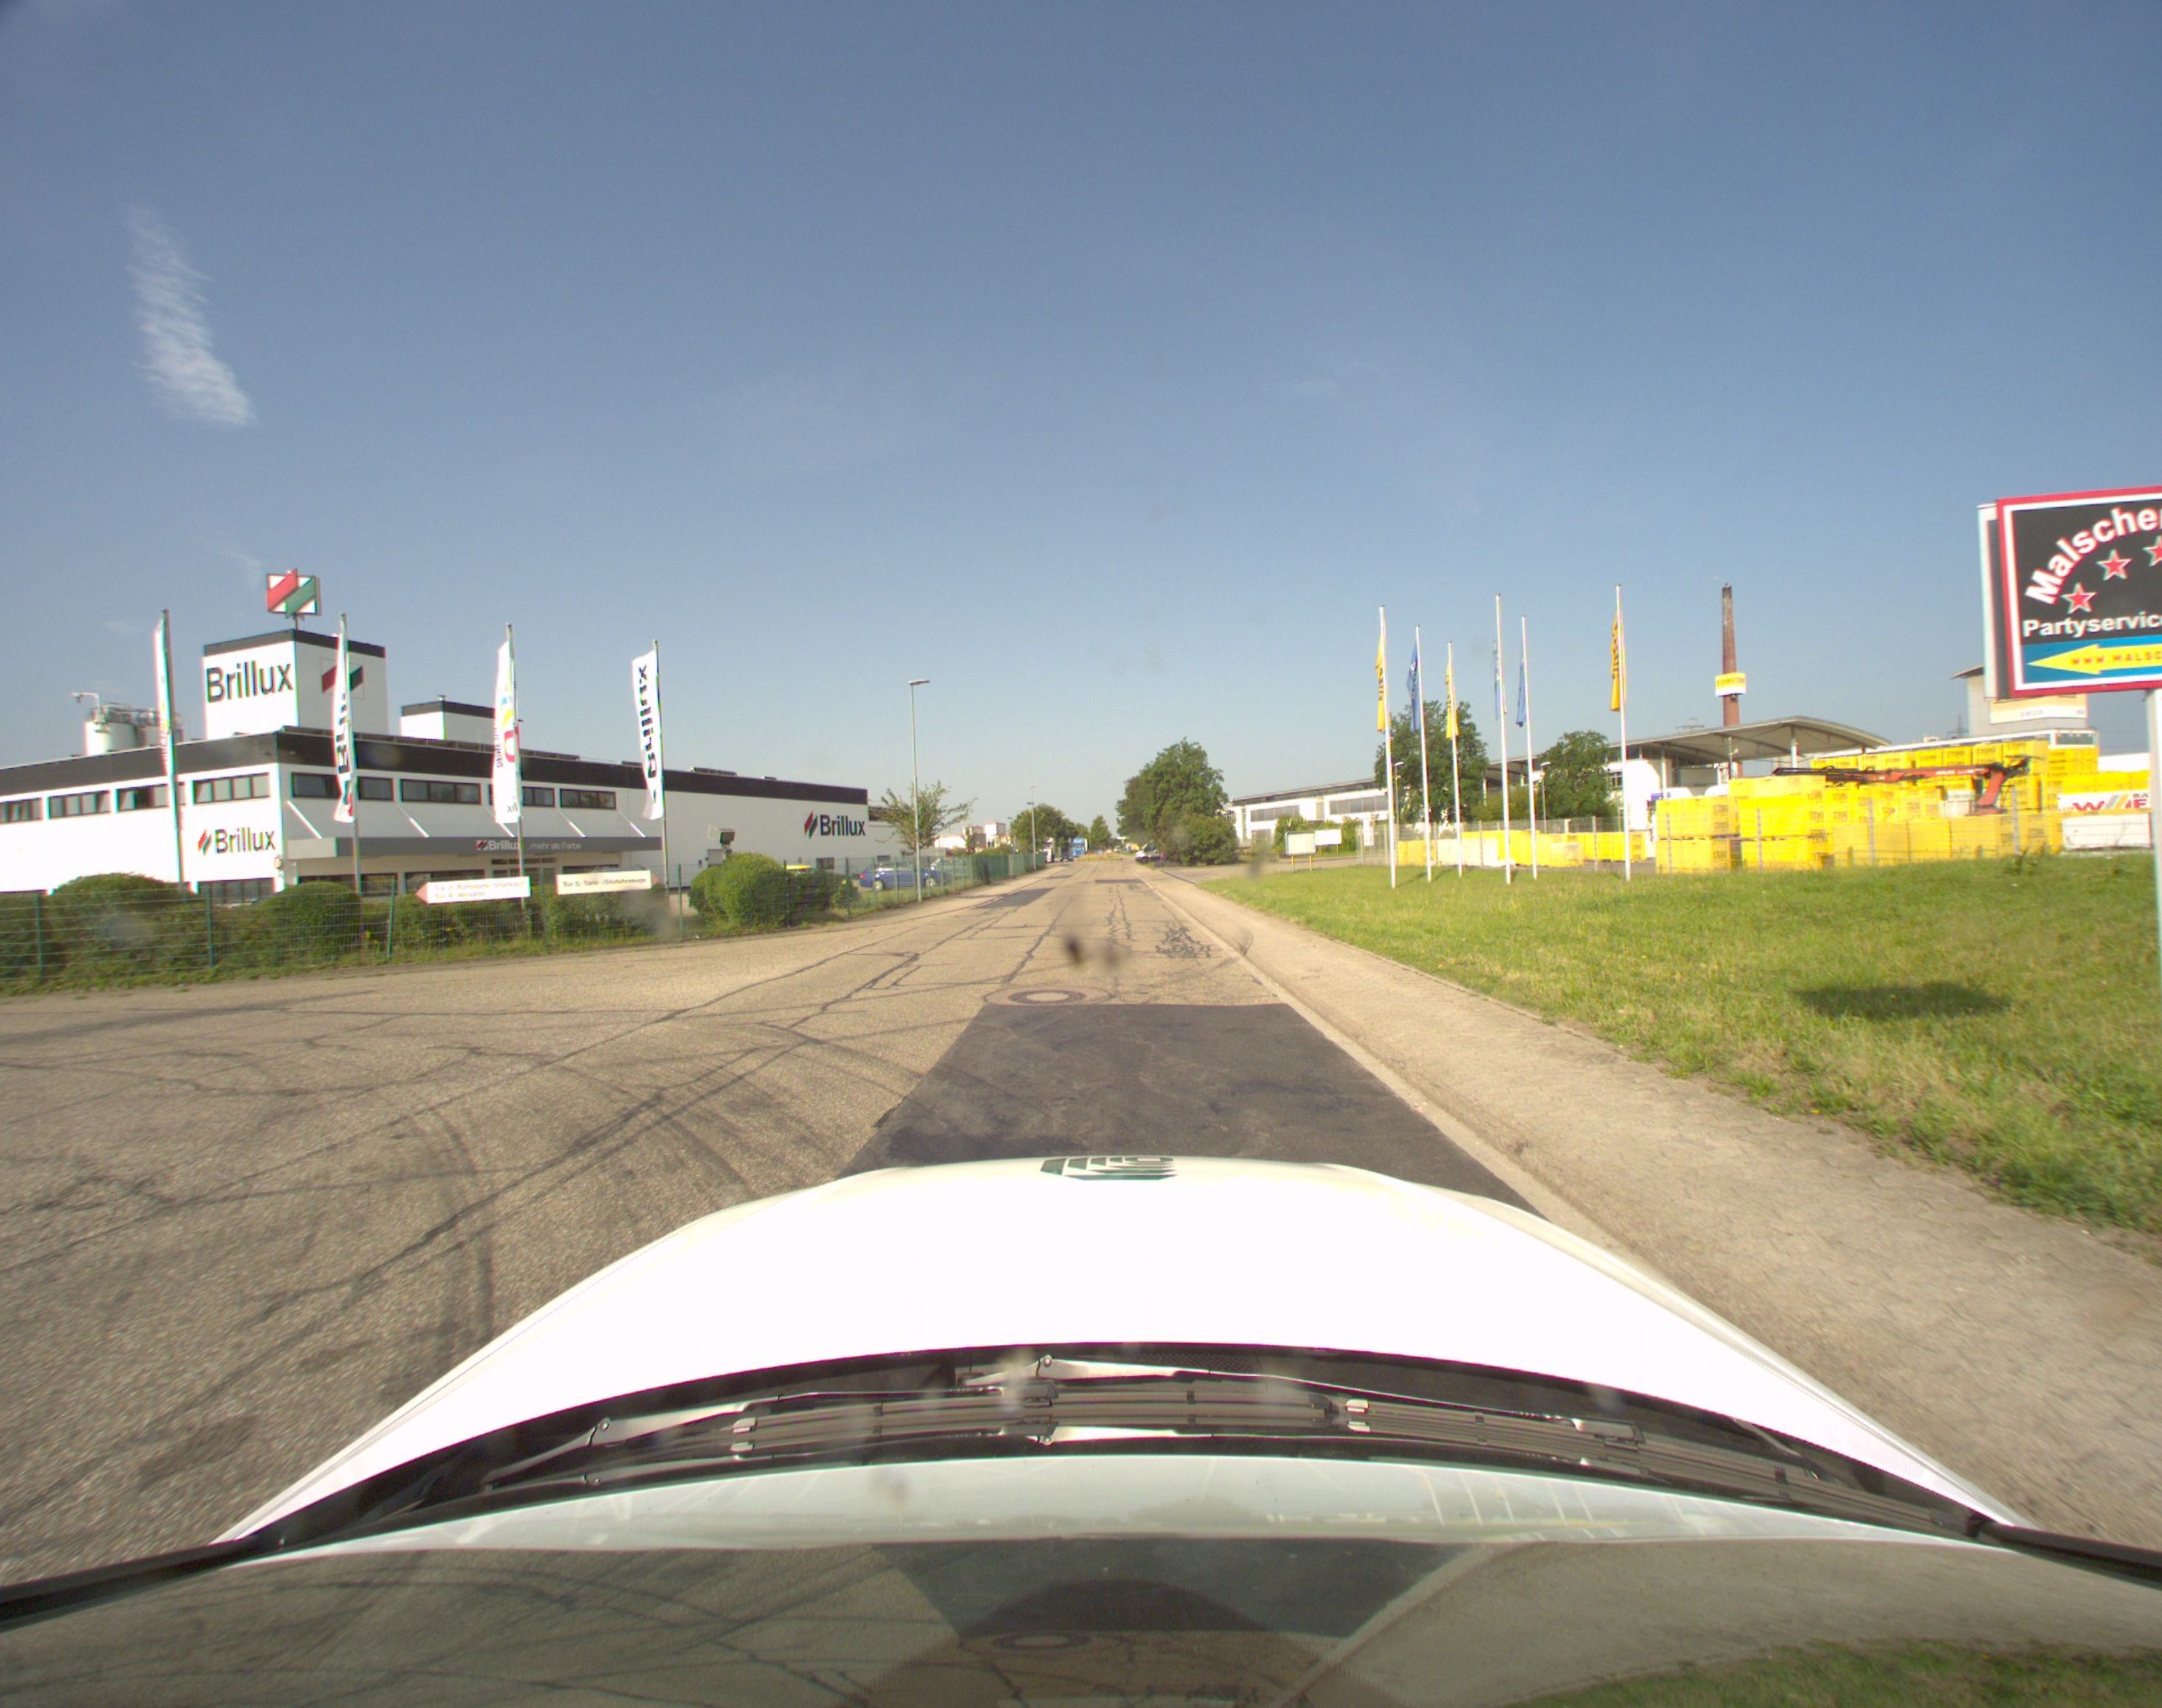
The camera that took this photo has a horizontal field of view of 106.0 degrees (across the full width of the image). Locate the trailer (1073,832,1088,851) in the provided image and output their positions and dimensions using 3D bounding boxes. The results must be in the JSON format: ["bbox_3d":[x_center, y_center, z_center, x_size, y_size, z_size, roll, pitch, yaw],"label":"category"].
[{"bbox_3d":[-0.110,-2.613,178.951,2.820,3.843,12.040,-1,0,2],"label":"trailer"}]

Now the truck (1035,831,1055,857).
[{"bbox_3d":[-5.495,-1.509,124.716,2.699,3.922,4.298,-1,0,1],"label":"truck"}]

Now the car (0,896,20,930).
[{"bbox_3d":[-55.924,3.078,39.534,1.986,1.702,5.063,-4,0,1],"label":"car"}]

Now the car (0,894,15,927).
[{"bbox_3d":[-59.159,3.129,41.808,1.986,1.702,5.063,-4,0,1],"label":"car"}]

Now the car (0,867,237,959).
[{"bbox_3d":[-21.539,1.303,18.165,4.608,1.752,2.164,-3,0,23],"label":"car"}]

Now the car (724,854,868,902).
[{"bbox_3d":[-9.655,0.786,27.784,4.147,1.368,1.870,-3,0,2],"label":"car"}]

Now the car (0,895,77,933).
[{"bbox_3d":[-53.156,3.037,39.705,1.986,1.702,5.063,-4,0,1],"label":"car"}]

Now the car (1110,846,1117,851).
[{"bbox_3d":[9.764,-1.644,244.880,1.712,1.660,3.823,-1,0,0],"label":"car"}]

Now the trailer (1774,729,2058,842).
[{"bbox_3d":[33.548,-2.507,33.270,2.486,3.876,7.748,-1,0,-20],"label":"trailer"}]

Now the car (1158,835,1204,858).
[{"bbox_3d":[9.045,-0.661,74.064,3.970,1.837,2.002,-3,0,3],"label":"car"}]

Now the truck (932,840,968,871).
[{"bbox_3d":[-17.478,0.234,108.849,2.493,4.071,5.568,-1,0,17],"label":"truck"}]

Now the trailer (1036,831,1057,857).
[{"bbox_3d":[-5.383,-1.492,128.945,2.690,3.922,7.577,-1,0,1],"label":"trailer"}]

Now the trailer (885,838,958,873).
[{"bbox_3d":[-19.644,0.229,101.906,2.462,4.041,13.952,-1,0,18],"label":"trailer"}]

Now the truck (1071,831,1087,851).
[{"bbox_3d":[-0.403,-2.663,168.947,2.815,3.825,9.676,-1,0,2],"label":"truck"}]

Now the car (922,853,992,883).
[{"bbox_3d":[-8.044,0.905,53.038,4.113,1.567,1.865,-4,0,1],"label":"car"}]

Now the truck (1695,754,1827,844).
[{"bbox_3d":[31.783,-2.455,38.181,2.546,3.876,3.973,-1,-1,-20],"label":"truck"}]

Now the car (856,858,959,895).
[{"bbox_3d":[-8.763,1.142,41.451,4.669,1.444,2.079,-4,0,1],"label":"car"}]

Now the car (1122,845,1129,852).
[{"bbox_3d":[11.433,-1.488,209.541,1.786,1.750,4.001,-1,0,1],"label":"car"}]

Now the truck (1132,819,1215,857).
[{"bbox_3d":[9.582,-1.610,84.697,8.180,3.370,2.741,-3,-1,0],"label":"truck"}]

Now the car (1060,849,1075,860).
[{"bbox_3d":[-2.009,0.034,124.399,1.987,1.449,4.420,-5,0,0],"label":"car"}]
